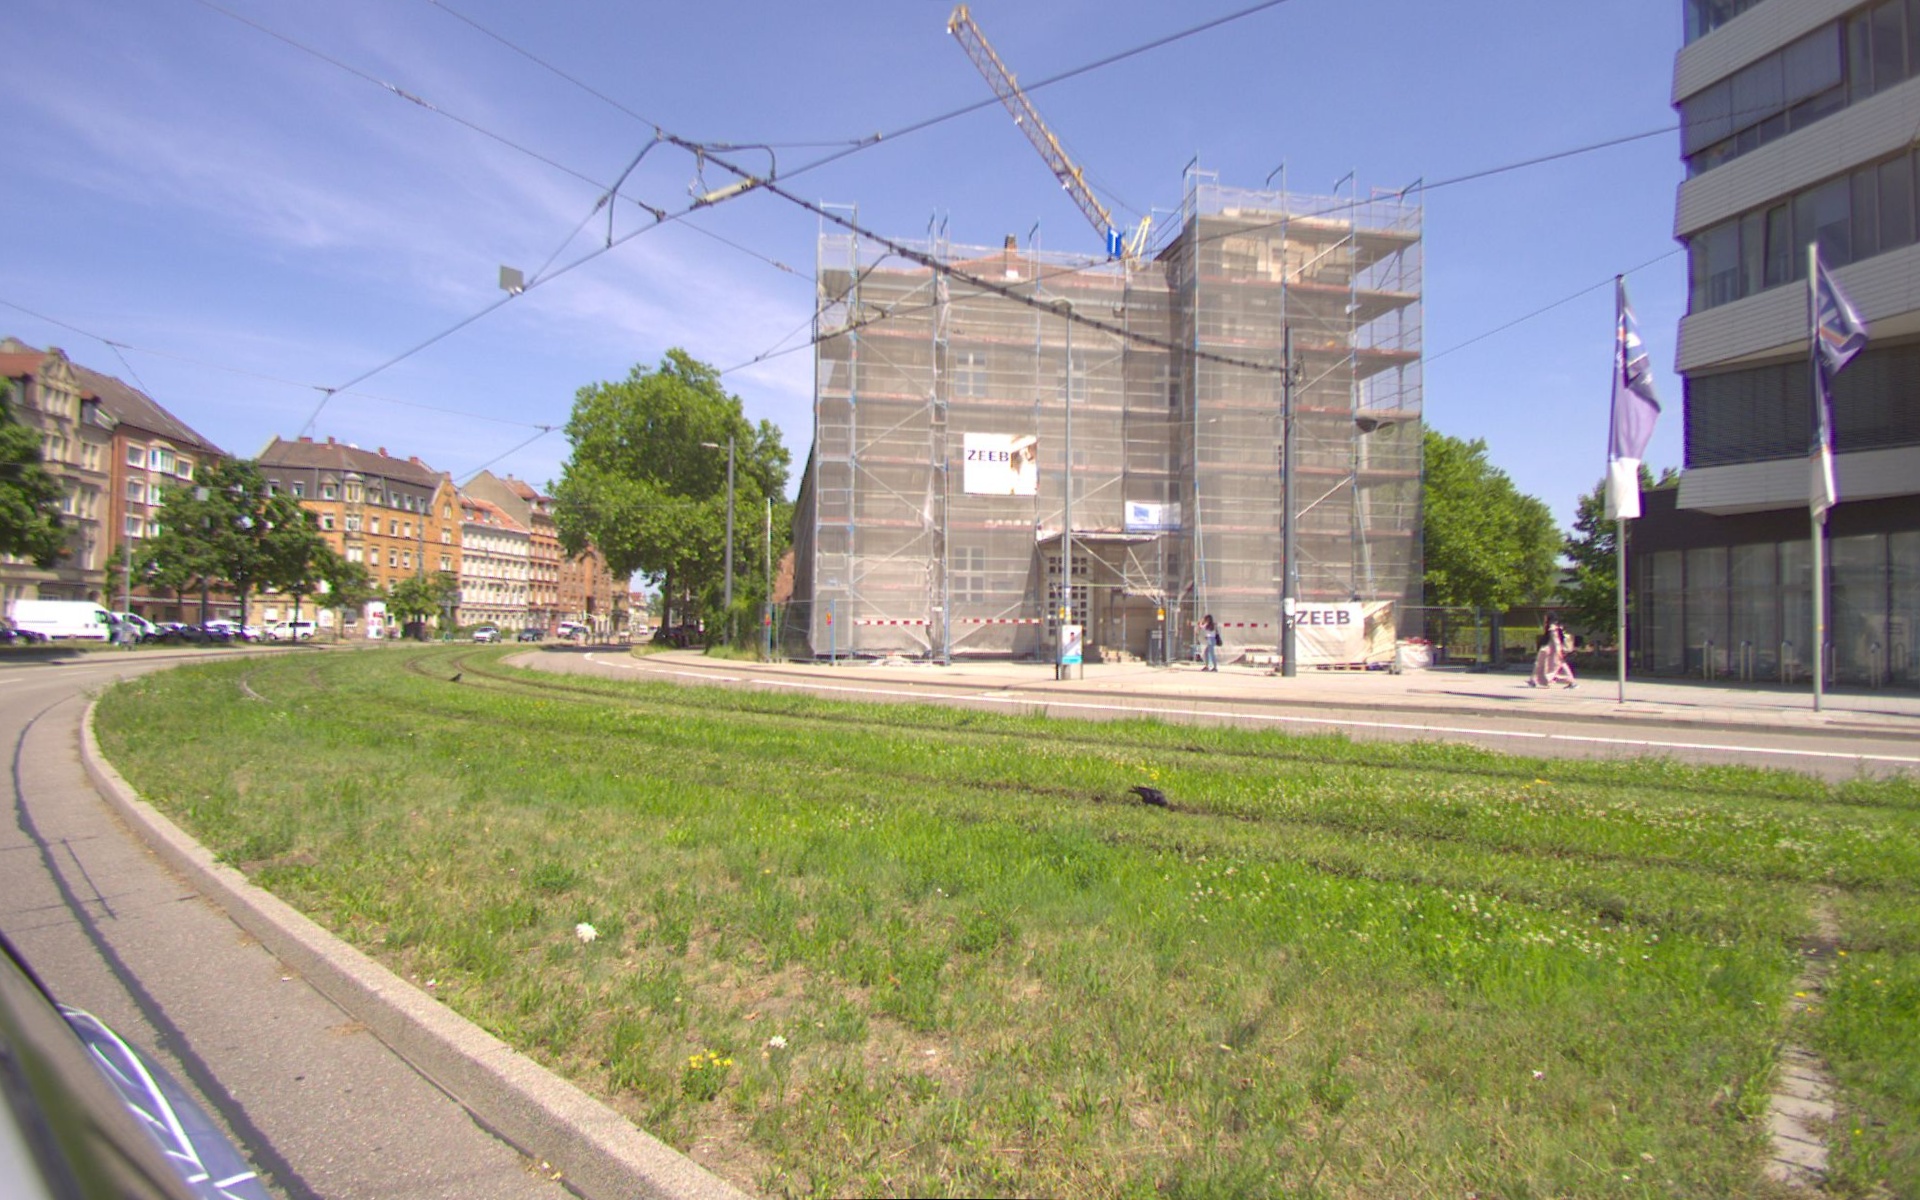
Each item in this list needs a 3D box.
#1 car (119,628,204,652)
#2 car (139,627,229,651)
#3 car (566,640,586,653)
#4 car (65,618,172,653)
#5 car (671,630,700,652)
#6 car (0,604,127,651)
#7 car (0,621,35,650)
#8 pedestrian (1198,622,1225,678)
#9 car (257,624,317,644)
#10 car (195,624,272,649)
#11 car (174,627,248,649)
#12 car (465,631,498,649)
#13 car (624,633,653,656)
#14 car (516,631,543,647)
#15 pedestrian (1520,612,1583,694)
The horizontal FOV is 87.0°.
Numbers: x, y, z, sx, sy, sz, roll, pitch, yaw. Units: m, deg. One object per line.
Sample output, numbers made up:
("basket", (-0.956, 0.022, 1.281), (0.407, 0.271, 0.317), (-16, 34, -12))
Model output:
("car", (-49.423, 2.472, 62.742), (3.932, 1.397, 1.829), (0, -2, -32))
("car", (-50.377, 2.523, 65.857), (4.556, 1.508, 1.970), (0, -2, -35))
("car", (-48.420, 5.891, 127.614), (1.771, 1.586, 4.010), (0, -2, -13))
("car", (-49.238, 2.053, 59.315), (4.772, 1.988, 2.080), (1, -2, -40))
("car", (-23.176, 3.466, 85.550), (1.968, 1.825, 4.309), (-1, -2, -10))
("car", (-49.226, 1.508, 55.270), (2.237, 2.479, 5.474), (-3, -2, 42))
("car", (-46.866, 1.709, 47.929), (1.972, 1.349, 4.370), (-3, -2, 42))
("pedestrian", (6.956, 1.372, 27.974), (0.573, 1.530, 0.589), (-1, -2, 3))
("car", (-69.016, 3.515, 103.823), (4.770, 1.953, 2.174), (0, -2, -23))
("car", (-51.618, 2.598, 71.992), (4.338, 1.644, 2.005), (0, -2, -33))
("car", (-50.965, 2.605, 68.938), (3.932, 1.410, 1.829), (0, -2, -32))
("car", (-43.831, 3.654, 92.824), (1.772, 1.586, 4.008), (-1, -2, -10))
("car", (-20.426, 2.807, 64.394), (1.566, 1.434, 4.335), (0, -2, -15))
("car", (-45.400, 4.129, 106.781), (1.772, 1.586, 4.008), (-1, -2, -10))
("pedestrian", (12.142, 1.080, 20.794), (0.907, 1.643, 0.745), (-1, -2, 17))
